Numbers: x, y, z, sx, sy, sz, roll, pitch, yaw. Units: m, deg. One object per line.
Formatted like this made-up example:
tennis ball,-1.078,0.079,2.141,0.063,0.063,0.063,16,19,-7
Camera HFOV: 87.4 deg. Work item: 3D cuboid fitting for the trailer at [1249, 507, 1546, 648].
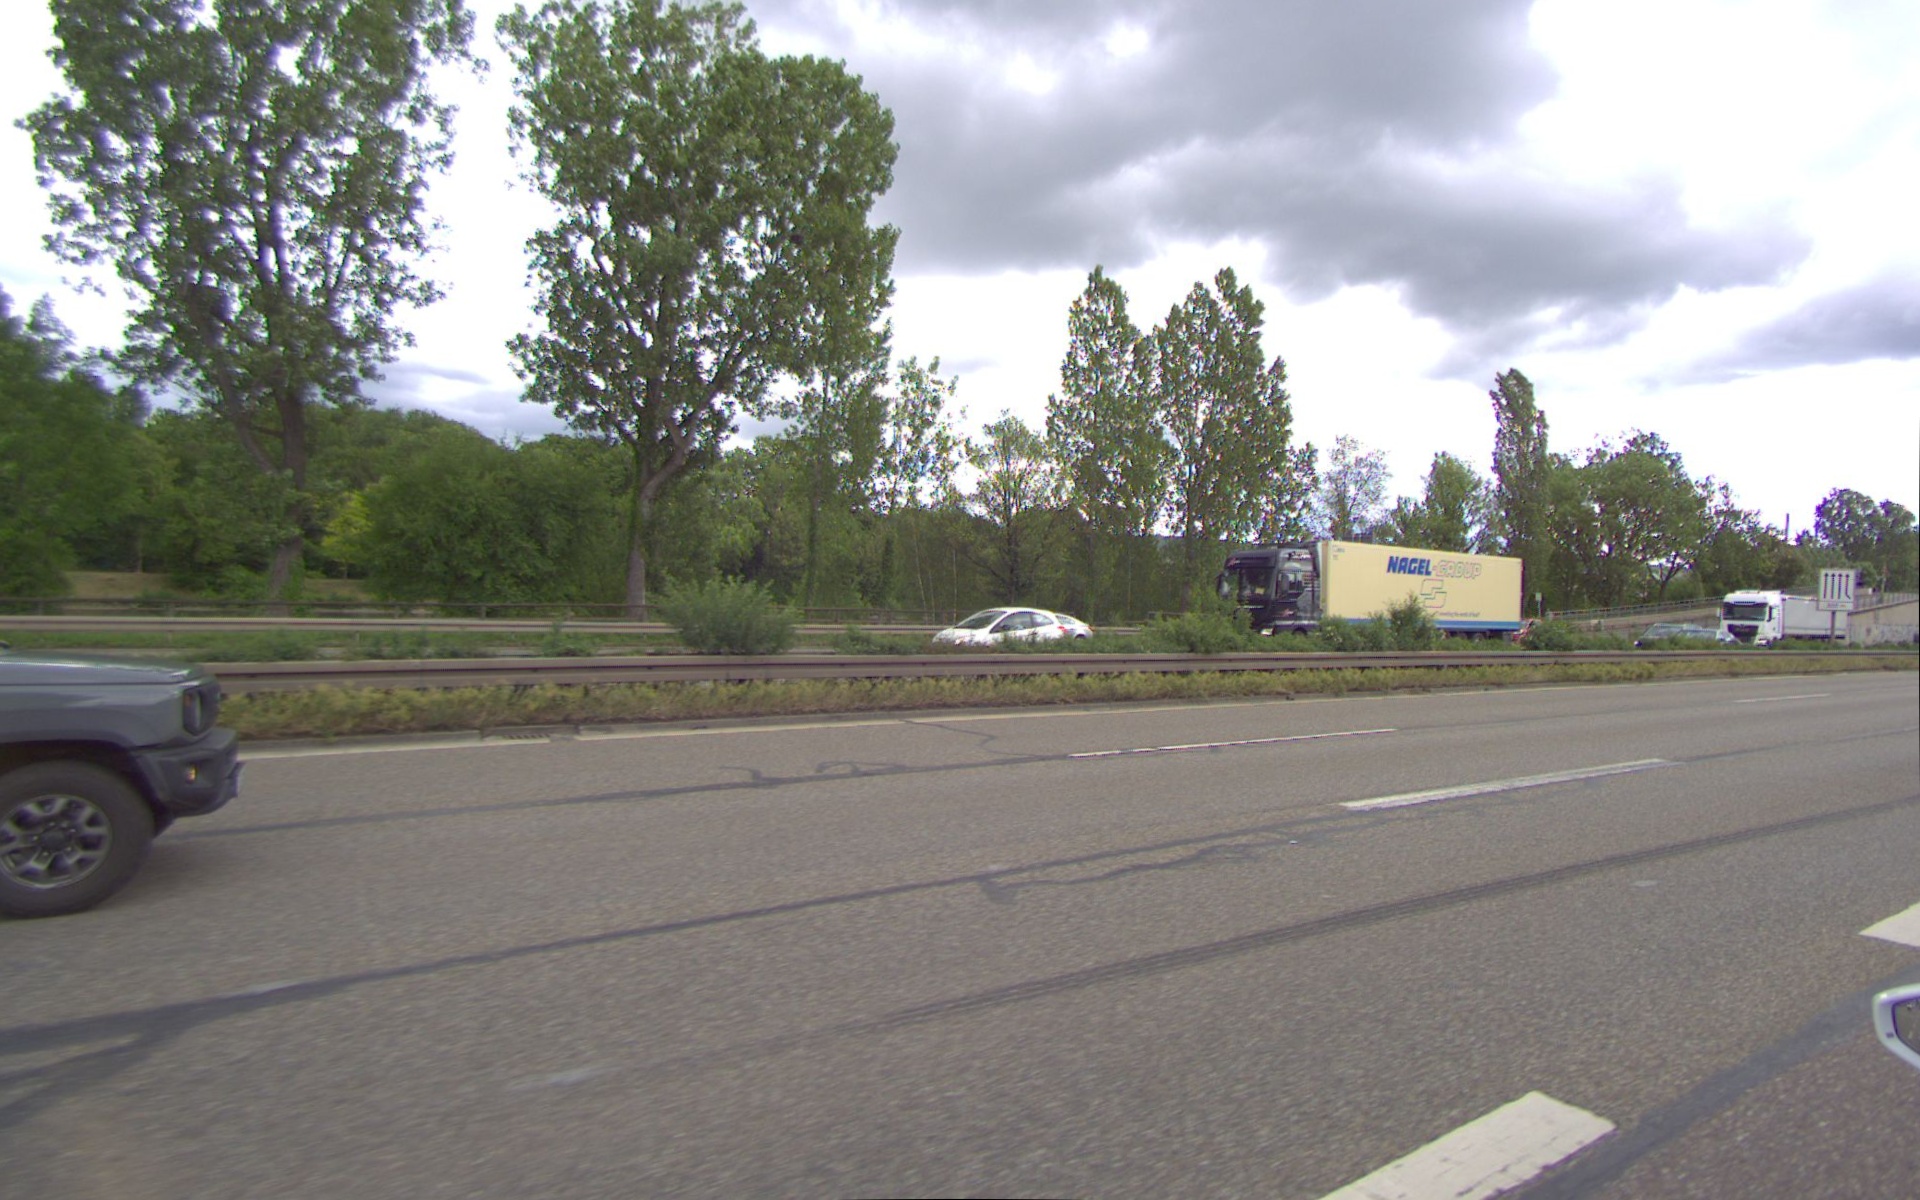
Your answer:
trailer,17.525,-0.637,39.294,14.634,4.735,3.440,2,1,-35

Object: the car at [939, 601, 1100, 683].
car,1.462,0.969,24.328,3.535,1.831,1.768,1,0,-34

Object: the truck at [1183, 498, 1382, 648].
truck,11.238,-0.820,34.872,6.149,4.735,3.441,1,1,-35

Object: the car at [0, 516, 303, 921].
car,-5.399,0.494,4.573,3.955,1.759,1.671,2,-1,-33

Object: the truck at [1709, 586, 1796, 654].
truck,49.152,1.266,62.286,5.262,3.990,2.770,2,1,-36

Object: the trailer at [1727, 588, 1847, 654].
trailer,55.021,1.494,66.628,13.385,4.002,2.770,2,1,-36
